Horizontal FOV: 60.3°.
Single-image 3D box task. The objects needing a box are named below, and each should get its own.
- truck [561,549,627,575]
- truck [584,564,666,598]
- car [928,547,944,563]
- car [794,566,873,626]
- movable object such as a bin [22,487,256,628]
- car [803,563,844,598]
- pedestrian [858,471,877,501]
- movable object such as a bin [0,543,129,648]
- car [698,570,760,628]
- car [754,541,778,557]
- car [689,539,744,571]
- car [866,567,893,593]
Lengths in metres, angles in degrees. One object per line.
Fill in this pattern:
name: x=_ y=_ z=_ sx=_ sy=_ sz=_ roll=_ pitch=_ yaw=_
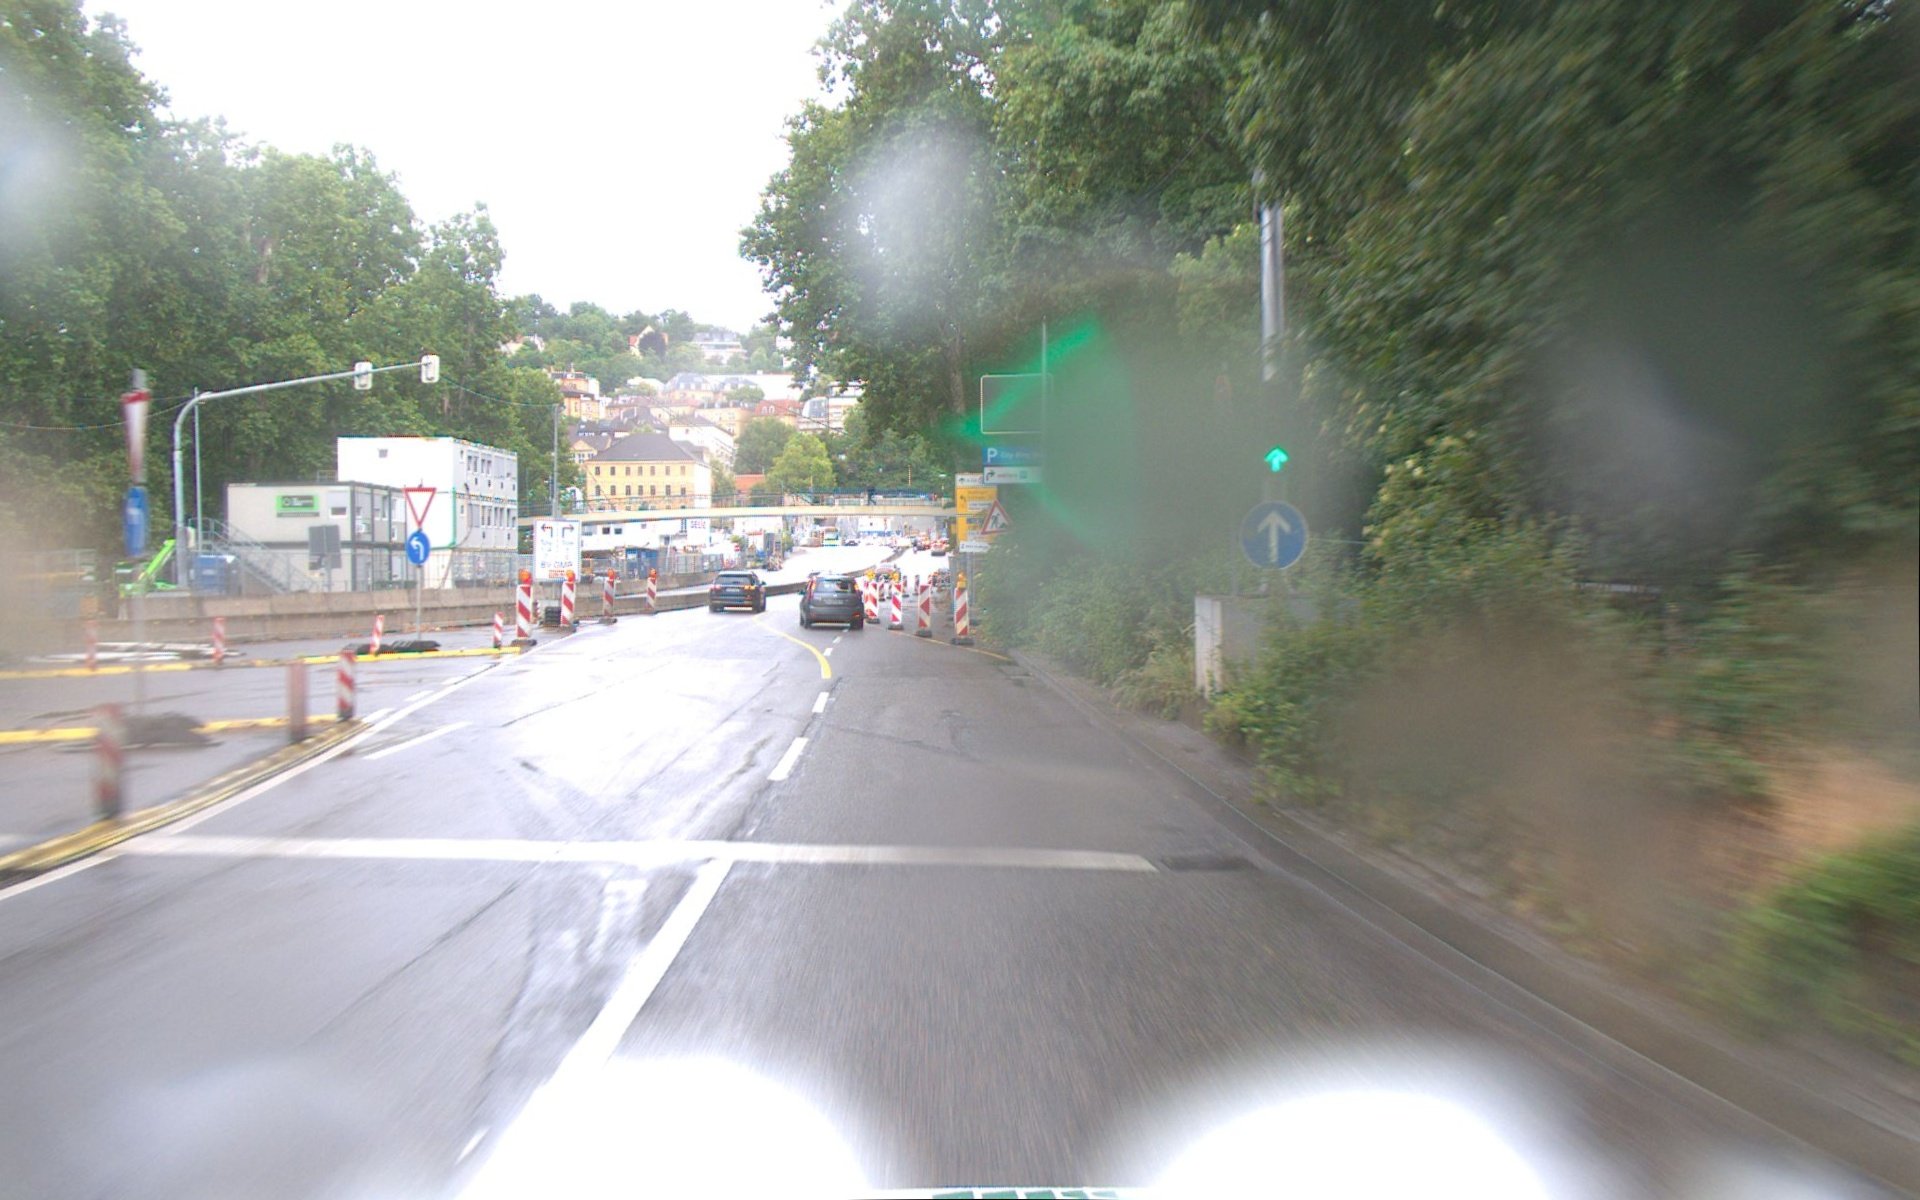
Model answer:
truck: x=-31.217 y=-3.220 z=141.055 sx=5.143 sy=2.048 sz=2.162 roll=-1 pitch=2 yaw=-4
truck: x=-26.754 y=-1.518 z=132.389 sx=6.156 sy=2.495 sz=2.690 roll=-2 pitch=1 yaw=-6
car: x=-3.019 y=-5.710 z=209.593 sx=1.953 sy=1.901 sz=4.000 roll=-1 pitch=1 yaw=-1
car: x=-3.563 y=-0.151 z=46.189 sx=1.779 sy=1.553 sz=3.991 roll=-2 pitch=1 yaw=-10
movable object such as a bin: x=-30.802 y=-1.582 z=62.691 sx=4.653 sy=4.886 sz=8.359 roll=-1 pitch=1 yaw=-1
car: x=-8.295 y=-1.200 z=101.120 sx=1.952 sy=2.049 sz=4.002 roll=0 pitch=1 yaw=3
pedestrian: x=-6.711 y=-8.260 z=120.190 sx=1.123 sy=2.096 sz=1.060 roll=-1 pitch=1 yaw=9
movable object such as a bin: x=-30.532 y=-0.160 z=53.694 sx=3.852 sy=3.182 sz=6.387 roll=-1 pitch=1 yaw=-1
car: x=-8.537 y=-0.078 z=61.415 sx=1.977 sy=2.048 sz=3.996 roll=-1 pitch=1 yaw=-5
car: x=-22.016 y=-5.768 z=187.657 sx=1.951 sy=1.649 sz=4.004 roll=-1 pitch=4 yaw=5
car: x=-23.000 y=-4.291 z=156.266 sx=1.955 sy=2.925 sz=6.045 roll=-1 pitch=1 yaw=27
car: x=-6.536 y=-1.640 z=134.577 sx=2.009 sy=2.048 sz=4.000 roll=-1 pitch=1 yaw=0
